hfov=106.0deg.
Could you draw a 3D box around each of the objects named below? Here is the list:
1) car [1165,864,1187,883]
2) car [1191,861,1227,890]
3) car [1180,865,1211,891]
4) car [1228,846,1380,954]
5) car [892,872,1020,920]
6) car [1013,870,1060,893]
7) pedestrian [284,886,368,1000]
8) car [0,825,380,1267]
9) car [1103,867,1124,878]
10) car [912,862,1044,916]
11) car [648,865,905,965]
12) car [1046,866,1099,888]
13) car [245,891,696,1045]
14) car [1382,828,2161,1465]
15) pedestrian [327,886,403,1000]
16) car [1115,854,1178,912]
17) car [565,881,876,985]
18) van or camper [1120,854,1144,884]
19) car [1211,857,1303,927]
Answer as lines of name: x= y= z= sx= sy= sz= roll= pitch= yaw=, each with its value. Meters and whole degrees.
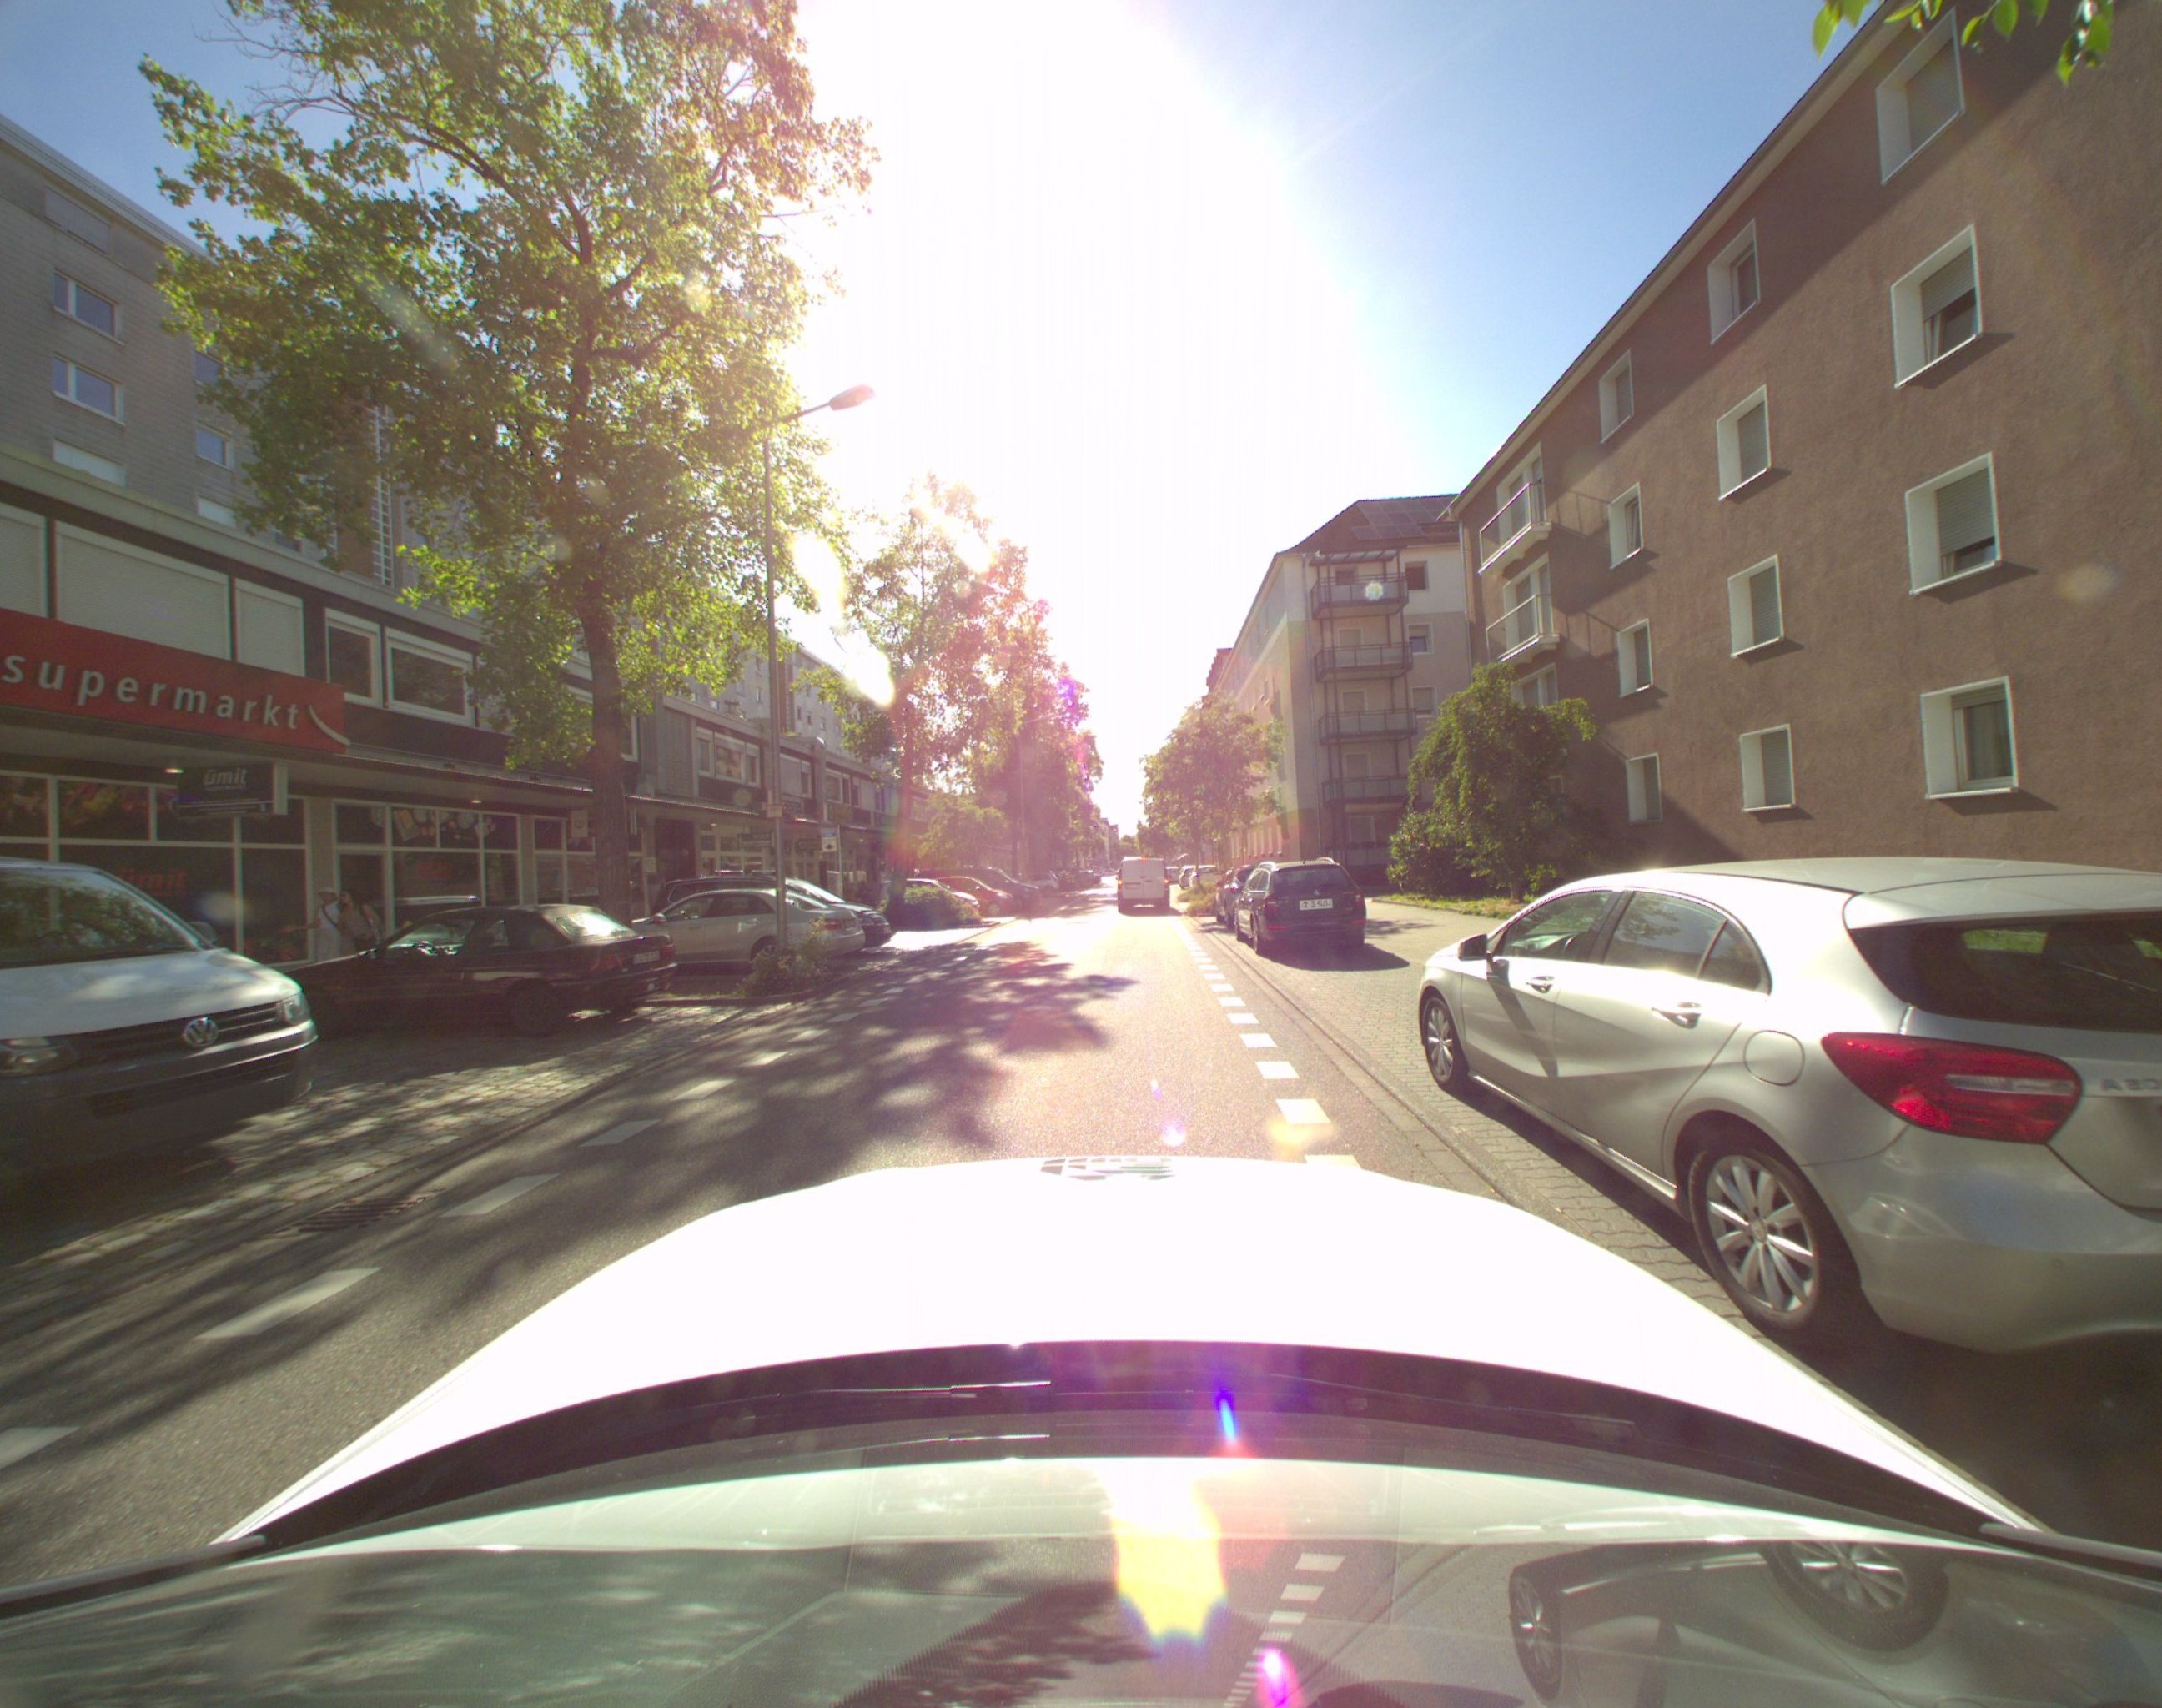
car: x=8.197 y=1.706 z=70.791 sx=1.732 sy=1.519 sz=3.863 roll=-3 pitch=-1 yaw=5
car: x=7.396 y=1.251 z=47.203 sx=1.732 sy=1.519 sz=3.863 roll=-3 pitch=-1 yaw=5
car: x=7.336 y=1.542 z=52.580 sx=1.732 sy=1.519 sz=3.863 roll=-3 pitch=-1 yaw=5
car: x=3.733 y=0.732 z=14.409 sx=1.774 sy=1.519 sz=4.314 roll=-4 pitch=-1 yaw=5
car: x=-4.807 y=1.616 z=31.745 sx=4.607 sy=1.610 sz=1.663 roll=-3 pitch=-2 yaw=3
car: x=-3.084 y=1.936 z=57.312 sx=3.086 sy=1.409 sz=1.663 roll=-3 pitch=-1 yaw=3
pedestrian: x=-11.585 y=1.347 z=12.510 sx=0.627 sy=1.651 sz=0.634 roll=-4 pitch=-1 yaw=4
car: x=-7.245 y=0.951 z=4.709 sx=4.711 sy=2.006 sz=1.960 roll=-2 pitch=-1 yaw=2
car: x=6.305 y=3.595 z=159.831 sx=3.974 sy=2.014 sz=1.999 roll=-3 pitch=-1 yaw=0
car: x=-4.295 y=1.465 z=34.358 sx=5.191 sy=1.981 sz=1.663 roll=-3 pitch=-1 yaw=3
car: x=-6.251 y=1.230 z=17.055 sx=4.607 sy=1.804 sz=1.838 roll=-3 pitch=-1 yaw=3
car: x=-0.865 y=2.270 z=82.166 sx=5.191 sy=1.981 sz=1.663 roll=-3 pitch=-1 yaw=3
car: x=-6.950 y=1.258 z=9.545 sx=4.013 sy=1.494 sz=1.718 roll=-2 pitch=-1 yaw=3
car: x=3.004 y=0.701 z=3.960 sx=1.732 sy=1.454 sz=4.159 roll=-3 pitch=-1 yaw=4
pedestrian: x=-10.919 y=1.336 z=12.429 sx=0.528 sy=1.651 sz=0.634 roll=-4 pitch=-1 yaw=4
car: x=2.440 y=1.041 z=30.924 sx=2.092 sy=1.907 sz=5.429 roll=-3 pitch=-1 yaw=4
car: x=-6.228 y=1.342 z=14.413 sx=4.636 sy=1.494 sz=1.829 roll=-3 pitch=-1 yaw=3
van or camper: x=4.701 y=1.361 z=74.115 sx=1.984 sy=2.475 sz=5.827 roll=-4 pitch=-1 yaw=4
car: x=4.344 y=0.910 z=20.587 sx=1.732 sy=1.519 sz=3.863 roll=-3 pitch=-1 yaw=5
